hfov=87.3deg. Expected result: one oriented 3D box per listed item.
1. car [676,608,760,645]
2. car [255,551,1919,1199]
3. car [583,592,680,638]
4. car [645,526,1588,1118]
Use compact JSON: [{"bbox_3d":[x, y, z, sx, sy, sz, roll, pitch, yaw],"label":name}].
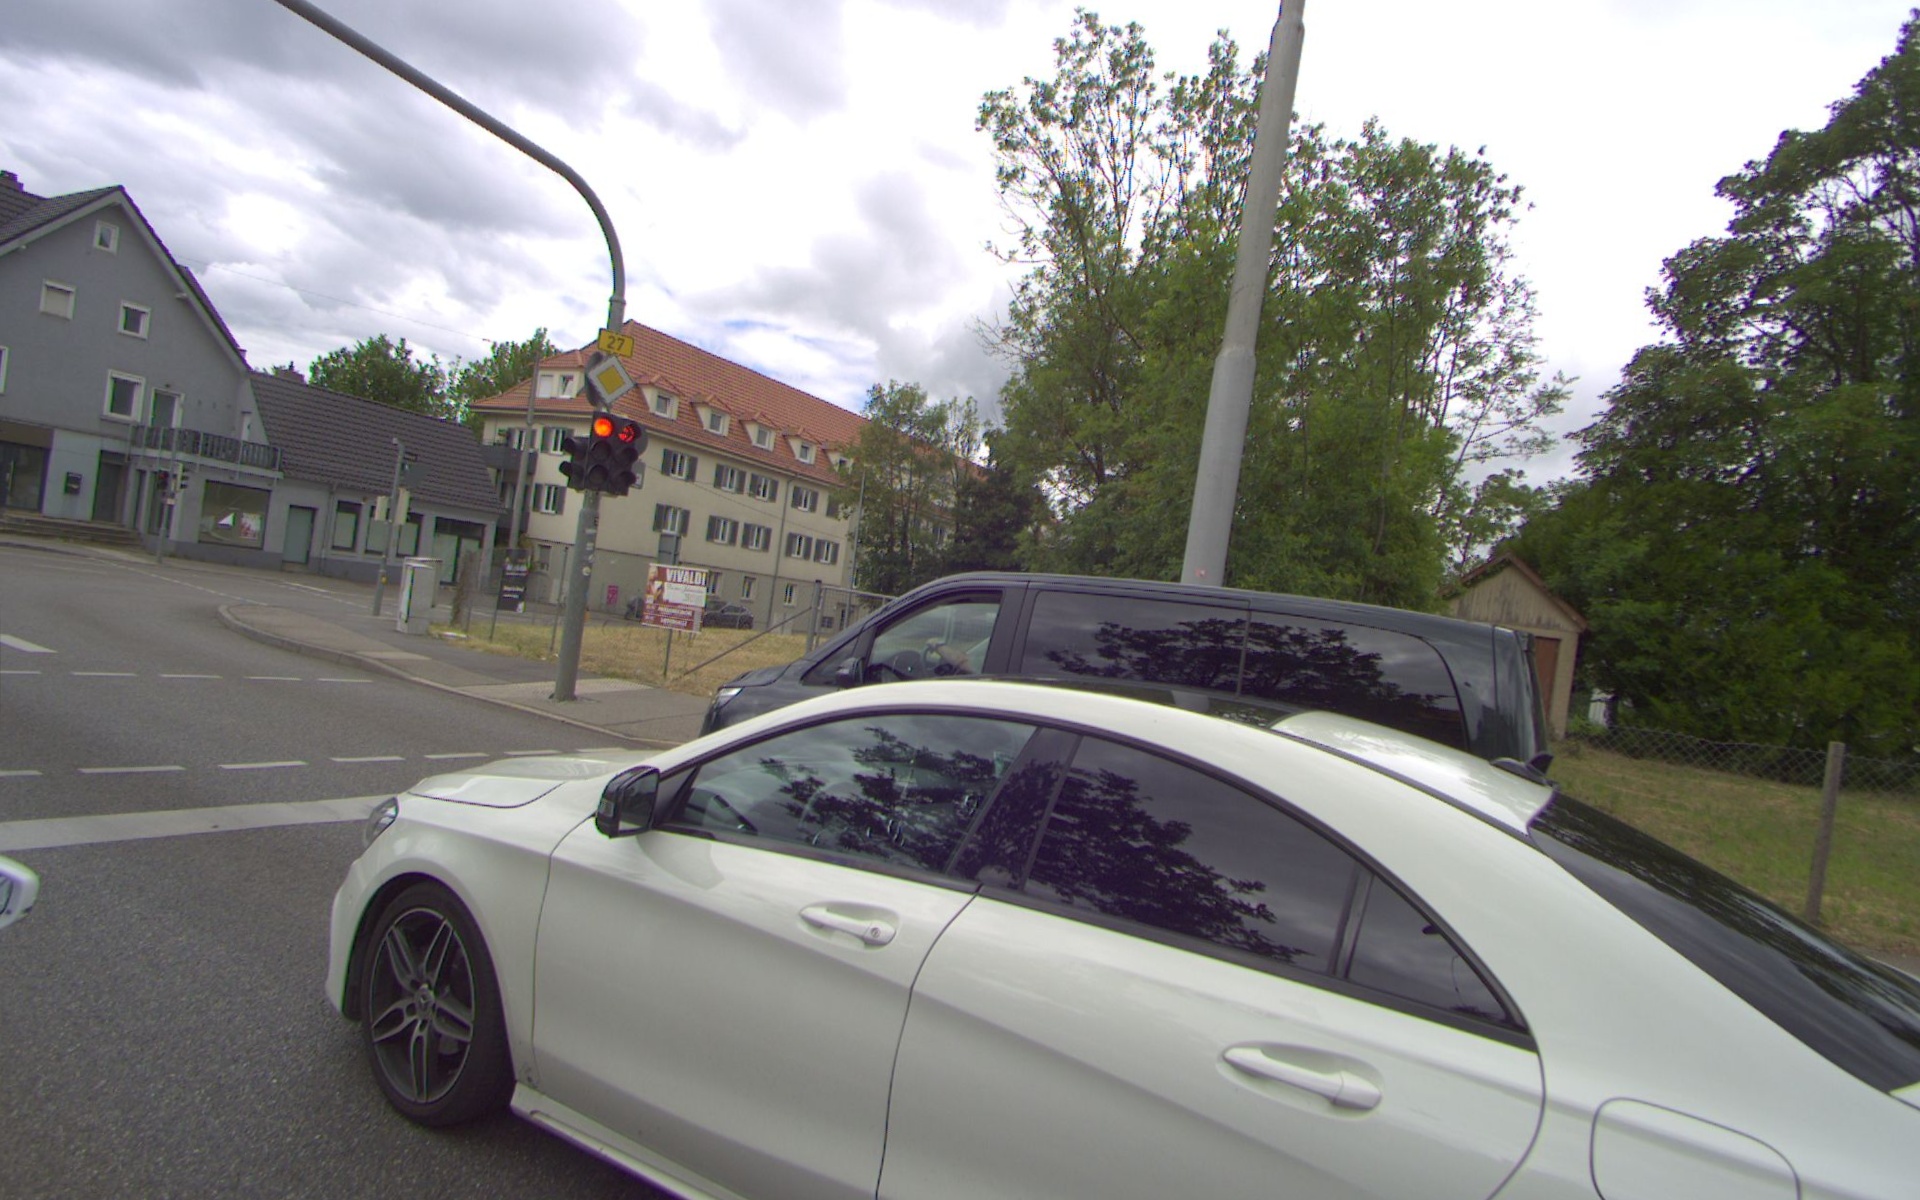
[{"bbox_3d":[-12.629,1.398,52.657,1.839,1.393,3.996,7,-2,32],"label":"car"},{"bbox_3d":[0.155,0.847,2.649,4.305,1.451,1.651,7,0,32],"label":"car"},{"bbox_3d":[-15.524,0.736,47.669,1.839,1.554,3.996,7,-2,32],"label":"car"},{"bbox_3d":[0.681,0.811,5.671,4.631,1.860,1.953,7,-2,32],"label":"car"}]
